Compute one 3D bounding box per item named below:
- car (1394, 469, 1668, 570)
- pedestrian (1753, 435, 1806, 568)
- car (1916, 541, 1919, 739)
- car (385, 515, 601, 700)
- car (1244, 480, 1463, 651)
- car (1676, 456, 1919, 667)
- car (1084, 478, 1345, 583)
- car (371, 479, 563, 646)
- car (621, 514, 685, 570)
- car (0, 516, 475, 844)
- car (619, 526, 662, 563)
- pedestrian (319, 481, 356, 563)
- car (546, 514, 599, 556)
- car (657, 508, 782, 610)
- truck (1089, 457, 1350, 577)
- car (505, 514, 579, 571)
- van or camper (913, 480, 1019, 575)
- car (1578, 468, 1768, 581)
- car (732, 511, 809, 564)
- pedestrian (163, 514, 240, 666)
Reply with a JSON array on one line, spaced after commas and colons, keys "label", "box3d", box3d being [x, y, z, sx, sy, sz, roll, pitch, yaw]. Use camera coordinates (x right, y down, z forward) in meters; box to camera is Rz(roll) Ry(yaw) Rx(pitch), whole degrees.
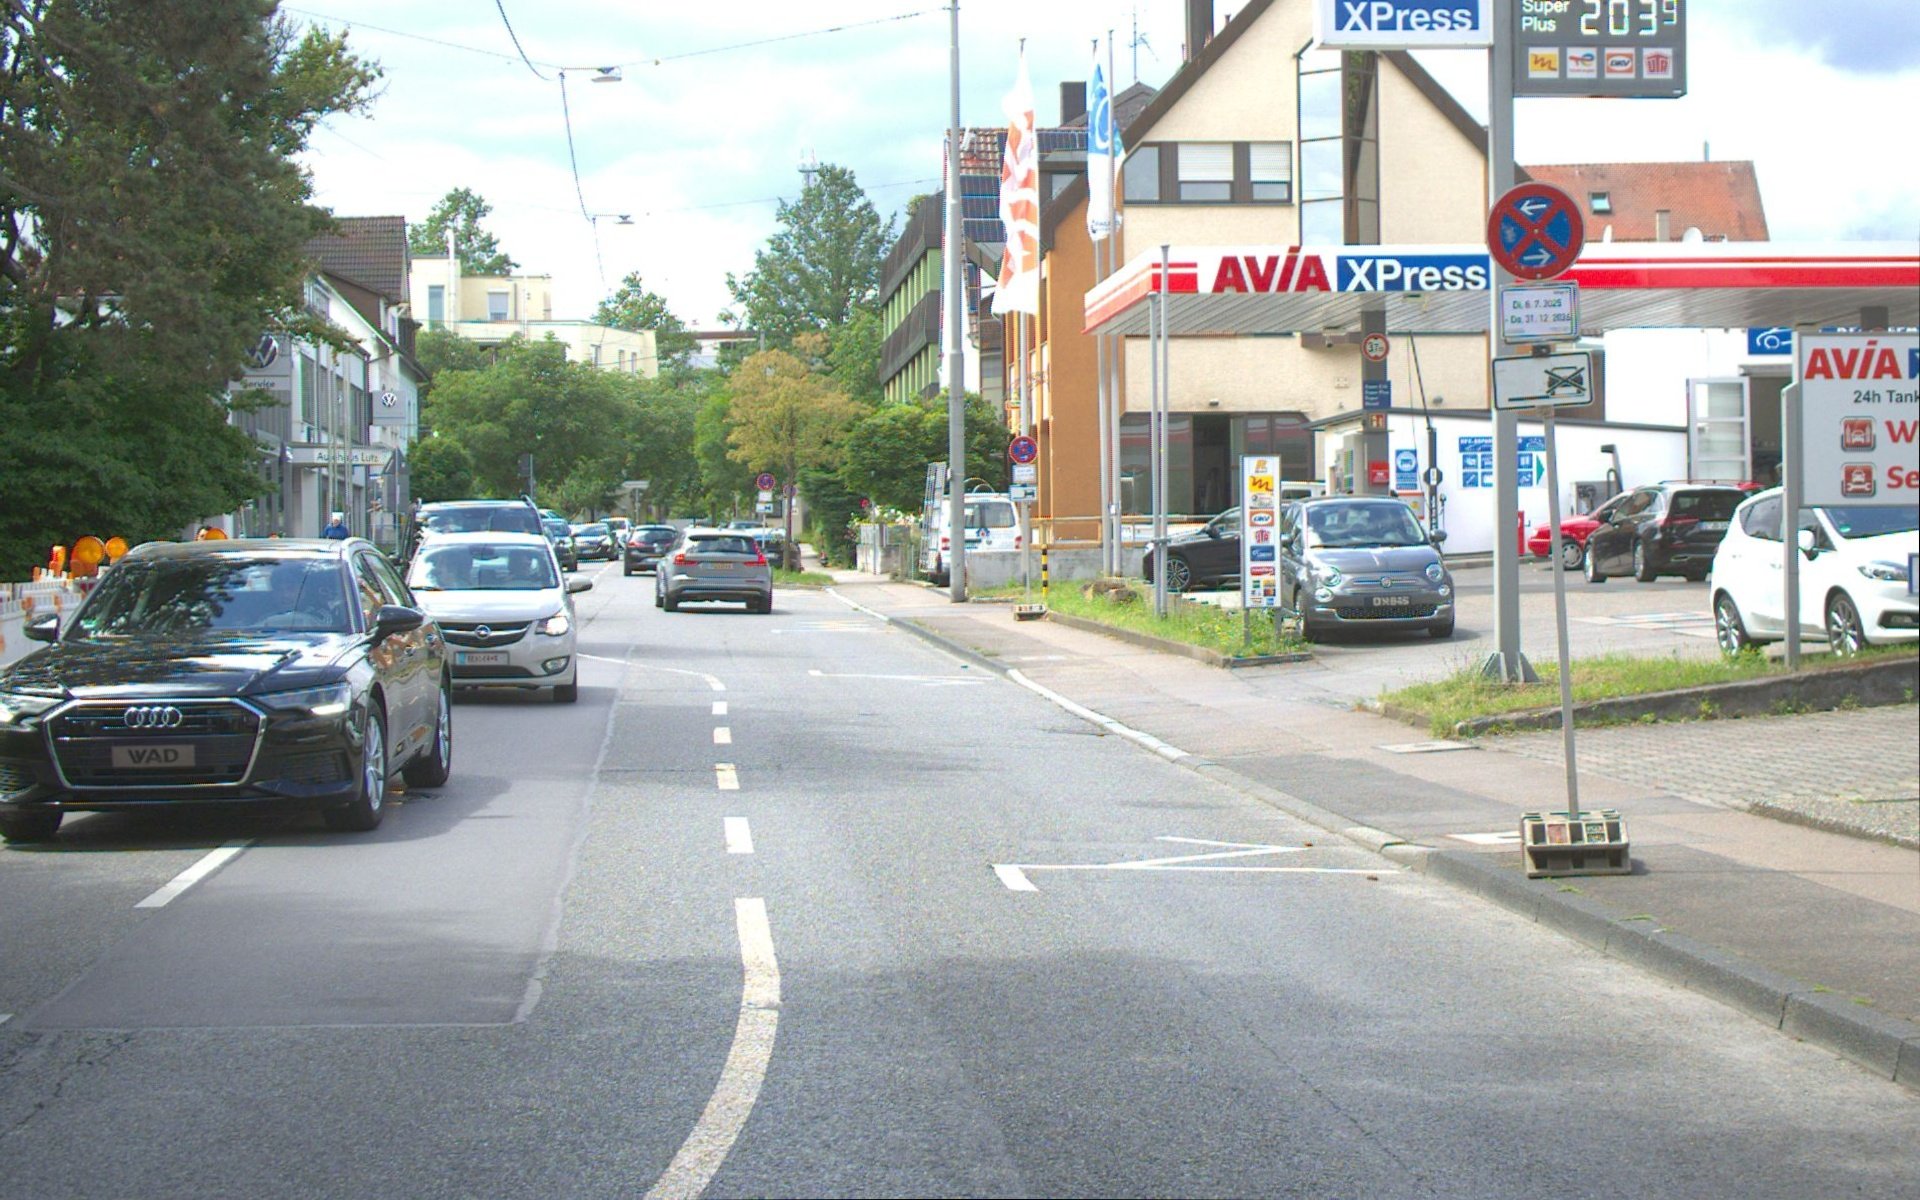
[{"label": "car", "box3d": [10.106, -1.415, 60.807, 4.597, 1.711, 1.824, 1, 0, 15]}, {"label": "pedestrian", "box3d": [11.963, -1.436, 50.200, 0.586, 1.929, 0.539, 1, 0, 32]}, {"label": "car", "box3d": [5.412, 0.403, 13.033, 1.784, 1.312, 4.483, -1, 1, -8]}, {"label": "car", "box3d": [-4.068, 0.033, 30.368, 1.614, 1.518, 3.570, -1, 1, -3]}, {"label": "car", "box3d": [4.220, -0.401, 37.436, 1.615, 1.590, 4.160, -6, 1, -2]}, {"label": "car", "box3d": [7.254, -0.348, 27.343, 1.634, 1.523, 4.205, -4, 1, -8]}, {"label": "car", "box3d": [4.554, -1.244, 61.633, 4.312, 1.625, 1.633, -2, 2, 31]}, {"label": "car", "box3d": [-6.242, -0.527, 43.116, 1.908, 1.945, 4.915, -1, 2, -14]}, {"label": "car", "box3d": [-8.641, -1.622, 96.612, 1.614, 1.518, 3.570, -1, 1, -7]}, {"label": "car", "box3d": [-3.775, 0.339, 18.371, 1.819, 1.518, 4.561, -1, 1, -1]}, {"label": "car", "box3d": [-13.435, -2.331, 144.467, 1.614, 1.518, 3.570, -1, 1, -7]}, {"label": "pedestrian", "box3d": [-13.238, -1.657, 73.150, 0.682, 1.731, 0.868, 1, 0, -5]}, {"label": "car", "box3d": [-14.247, -2.374, 126.364, 1.831, 1.518, 4.172, -1, 1, -7]}, {"label": "car", "box3d": [-4.292, -0.694, 60.832, 1.955, 1.518, 4.329, 1, -3, -7]}, {"label": "truck", "box3d": [5.370, -1.744, 71.555, 5.086, 2.449, 2.358, 0, 3, -5]}, {"label": "car", "box3d": [-11.167, -1.558, 92.095, 1.740, 1.424, 4.525, -1, 2, -4]}, {"label": "van or camper", "box3d": [0.103, -1.595, 76.613, 1.866, 2.025, 4.548, 1, 1, -6]}, {"label": "car", "box3d": [10.570, -1.085, 51.240, 1.630, 1.603, 4.572, 0, 0, -3]}, {"label": "car", "box3d": [-5.341, -1.750, 96.491, 1.984, 1.443, 4.752, -1, 1, -5]}, {"label": "pedestrian", "box3d": [-8.039, -0.108, 36.439, 0.571, 1.596, 0.536, 1, 1, 40]}]
